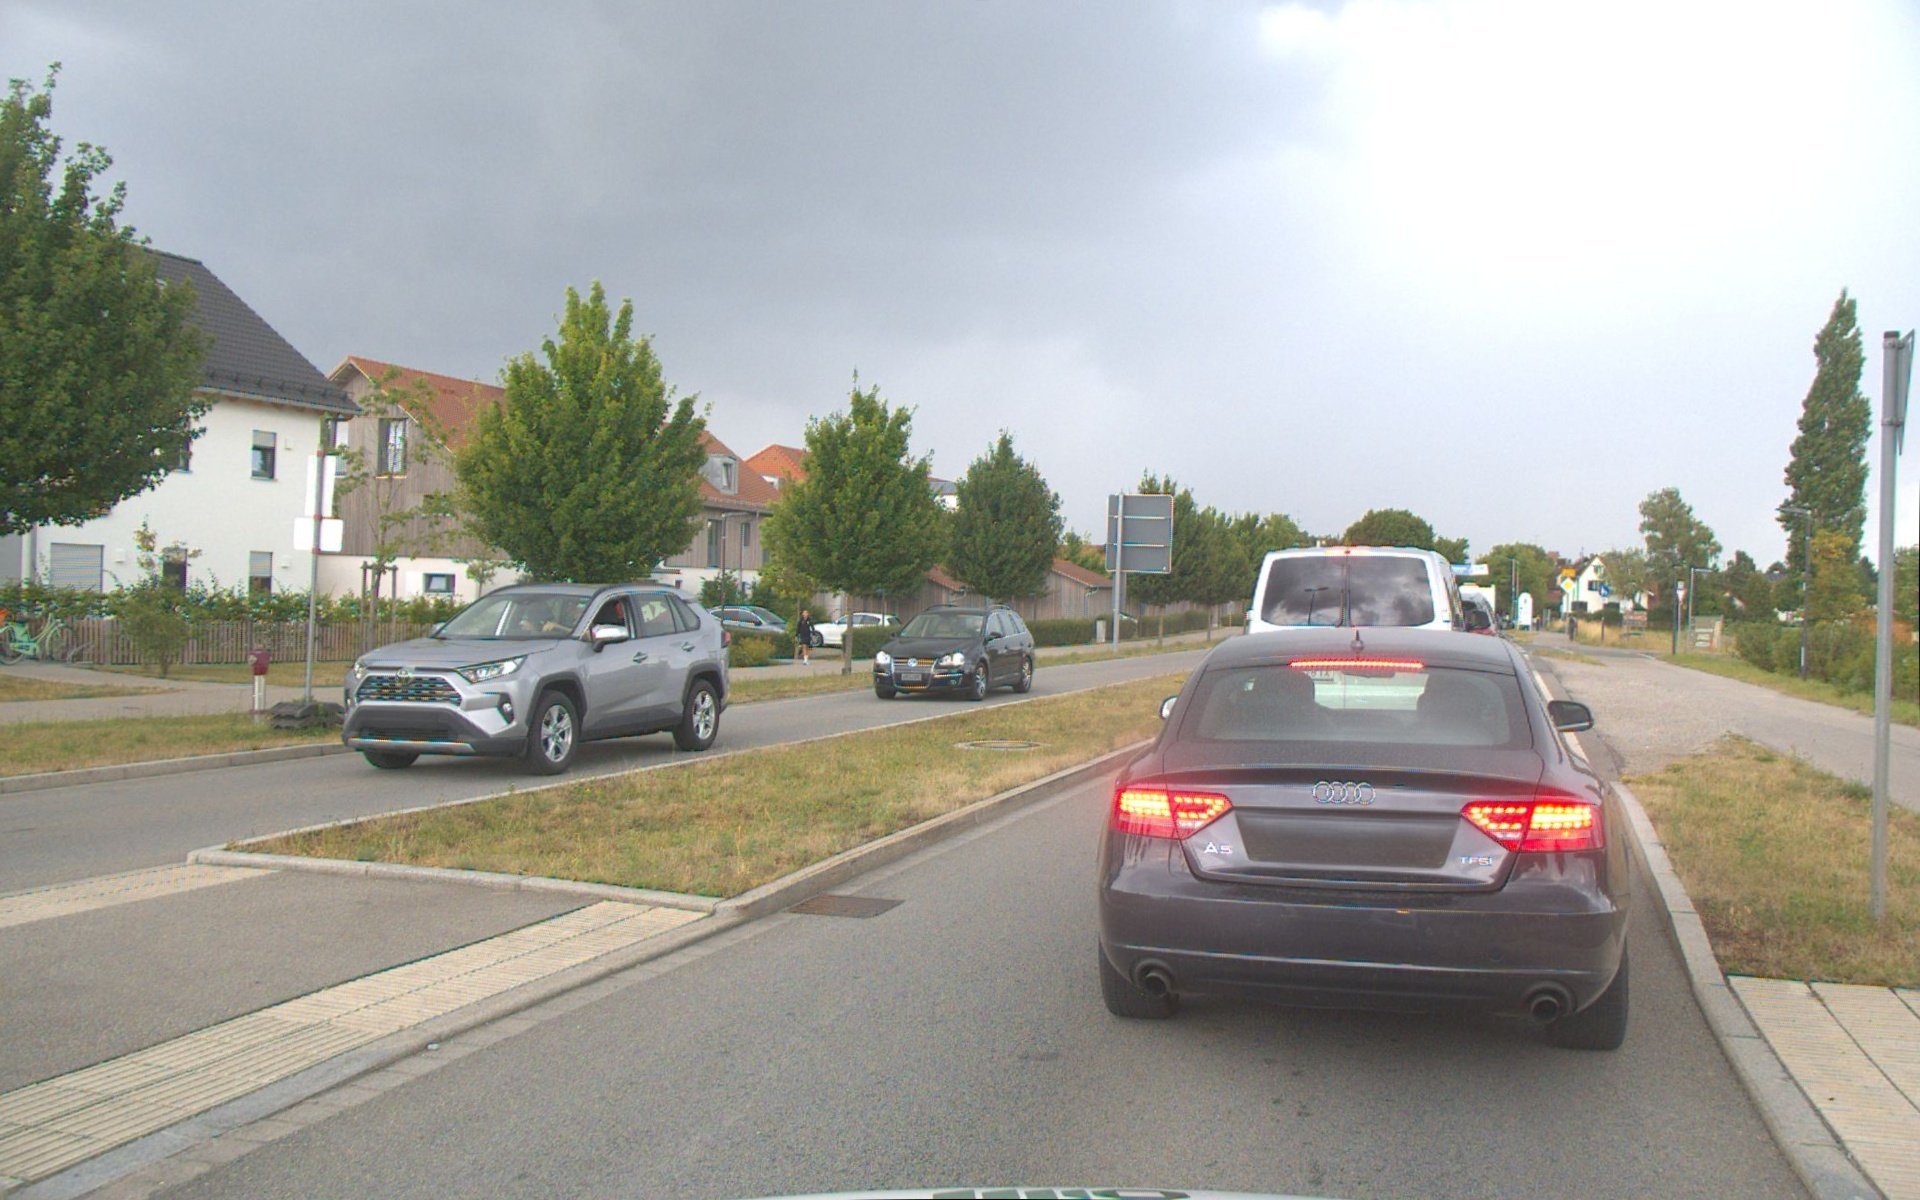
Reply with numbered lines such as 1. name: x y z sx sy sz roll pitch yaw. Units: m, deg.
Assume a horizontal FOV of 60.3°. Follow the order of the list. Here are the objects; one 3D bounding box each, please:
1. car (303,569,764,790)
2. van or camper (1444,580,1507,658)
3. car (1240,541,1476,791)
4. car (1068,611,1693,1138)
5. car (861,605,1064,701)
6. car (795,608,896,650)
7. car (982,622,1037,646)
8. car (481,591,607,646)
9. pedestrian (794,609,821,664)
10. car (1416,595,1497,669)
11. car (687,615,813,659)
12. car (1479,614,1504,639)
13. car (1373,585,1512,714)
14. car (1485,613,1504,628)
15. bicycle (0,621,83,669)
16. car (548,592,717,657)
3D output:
1. car: -3.739 0.633 15.512 1.952 1.733 4.636 0 0 19
2. van or camper: 23.840 0.903 76.524 2.570 3.382 6.824 2 -1 18
3. car: 3.791 0.524 15.529 1.828 1.968 4.003 2 1 15
4. car: 1.743 0.773 6.801 1.746 1.416 4.135 1 0 16
5. car: 0.144 0.810 27.148 1.718 1.441 4.454 -1 -1 23
6. car: -4.545 1.122 65.787 3.650 1.508 1.688 2 0 15
7. car: 2.391 1.624 79.967 2.419 1.046 1.186 2 0 13
8. car: -14.475 0.666 57.805 1.953 1.803 4.464 1 0 23
9. pedestrian: -4.470 1.057 48.521 0.574 1.586 0.654 2 0 -26
10. car: 11.834 0.752 39.329 1.739 1.646 4.002 1 -1 18
11. car: -7.152 1.232 56.497 3.832 1.338 1.844 2 0 16
12. car: 36.890 1.837 114.723 1.580 1.659 3.617 2 0 19
13. car: 7.029 0.654 23.930 1.739 1.646 4.002 2 0 18
14. car: 49.530 1.888 153.179 1.580 1.294 3.462 2 0 19
15. bicycle: -17.177 0.829 30.857 0.360 0.858 1.547 4 1 20
16. car: -9.597 0.690 48.494 4.438 1.709 2.000 2 0 22
